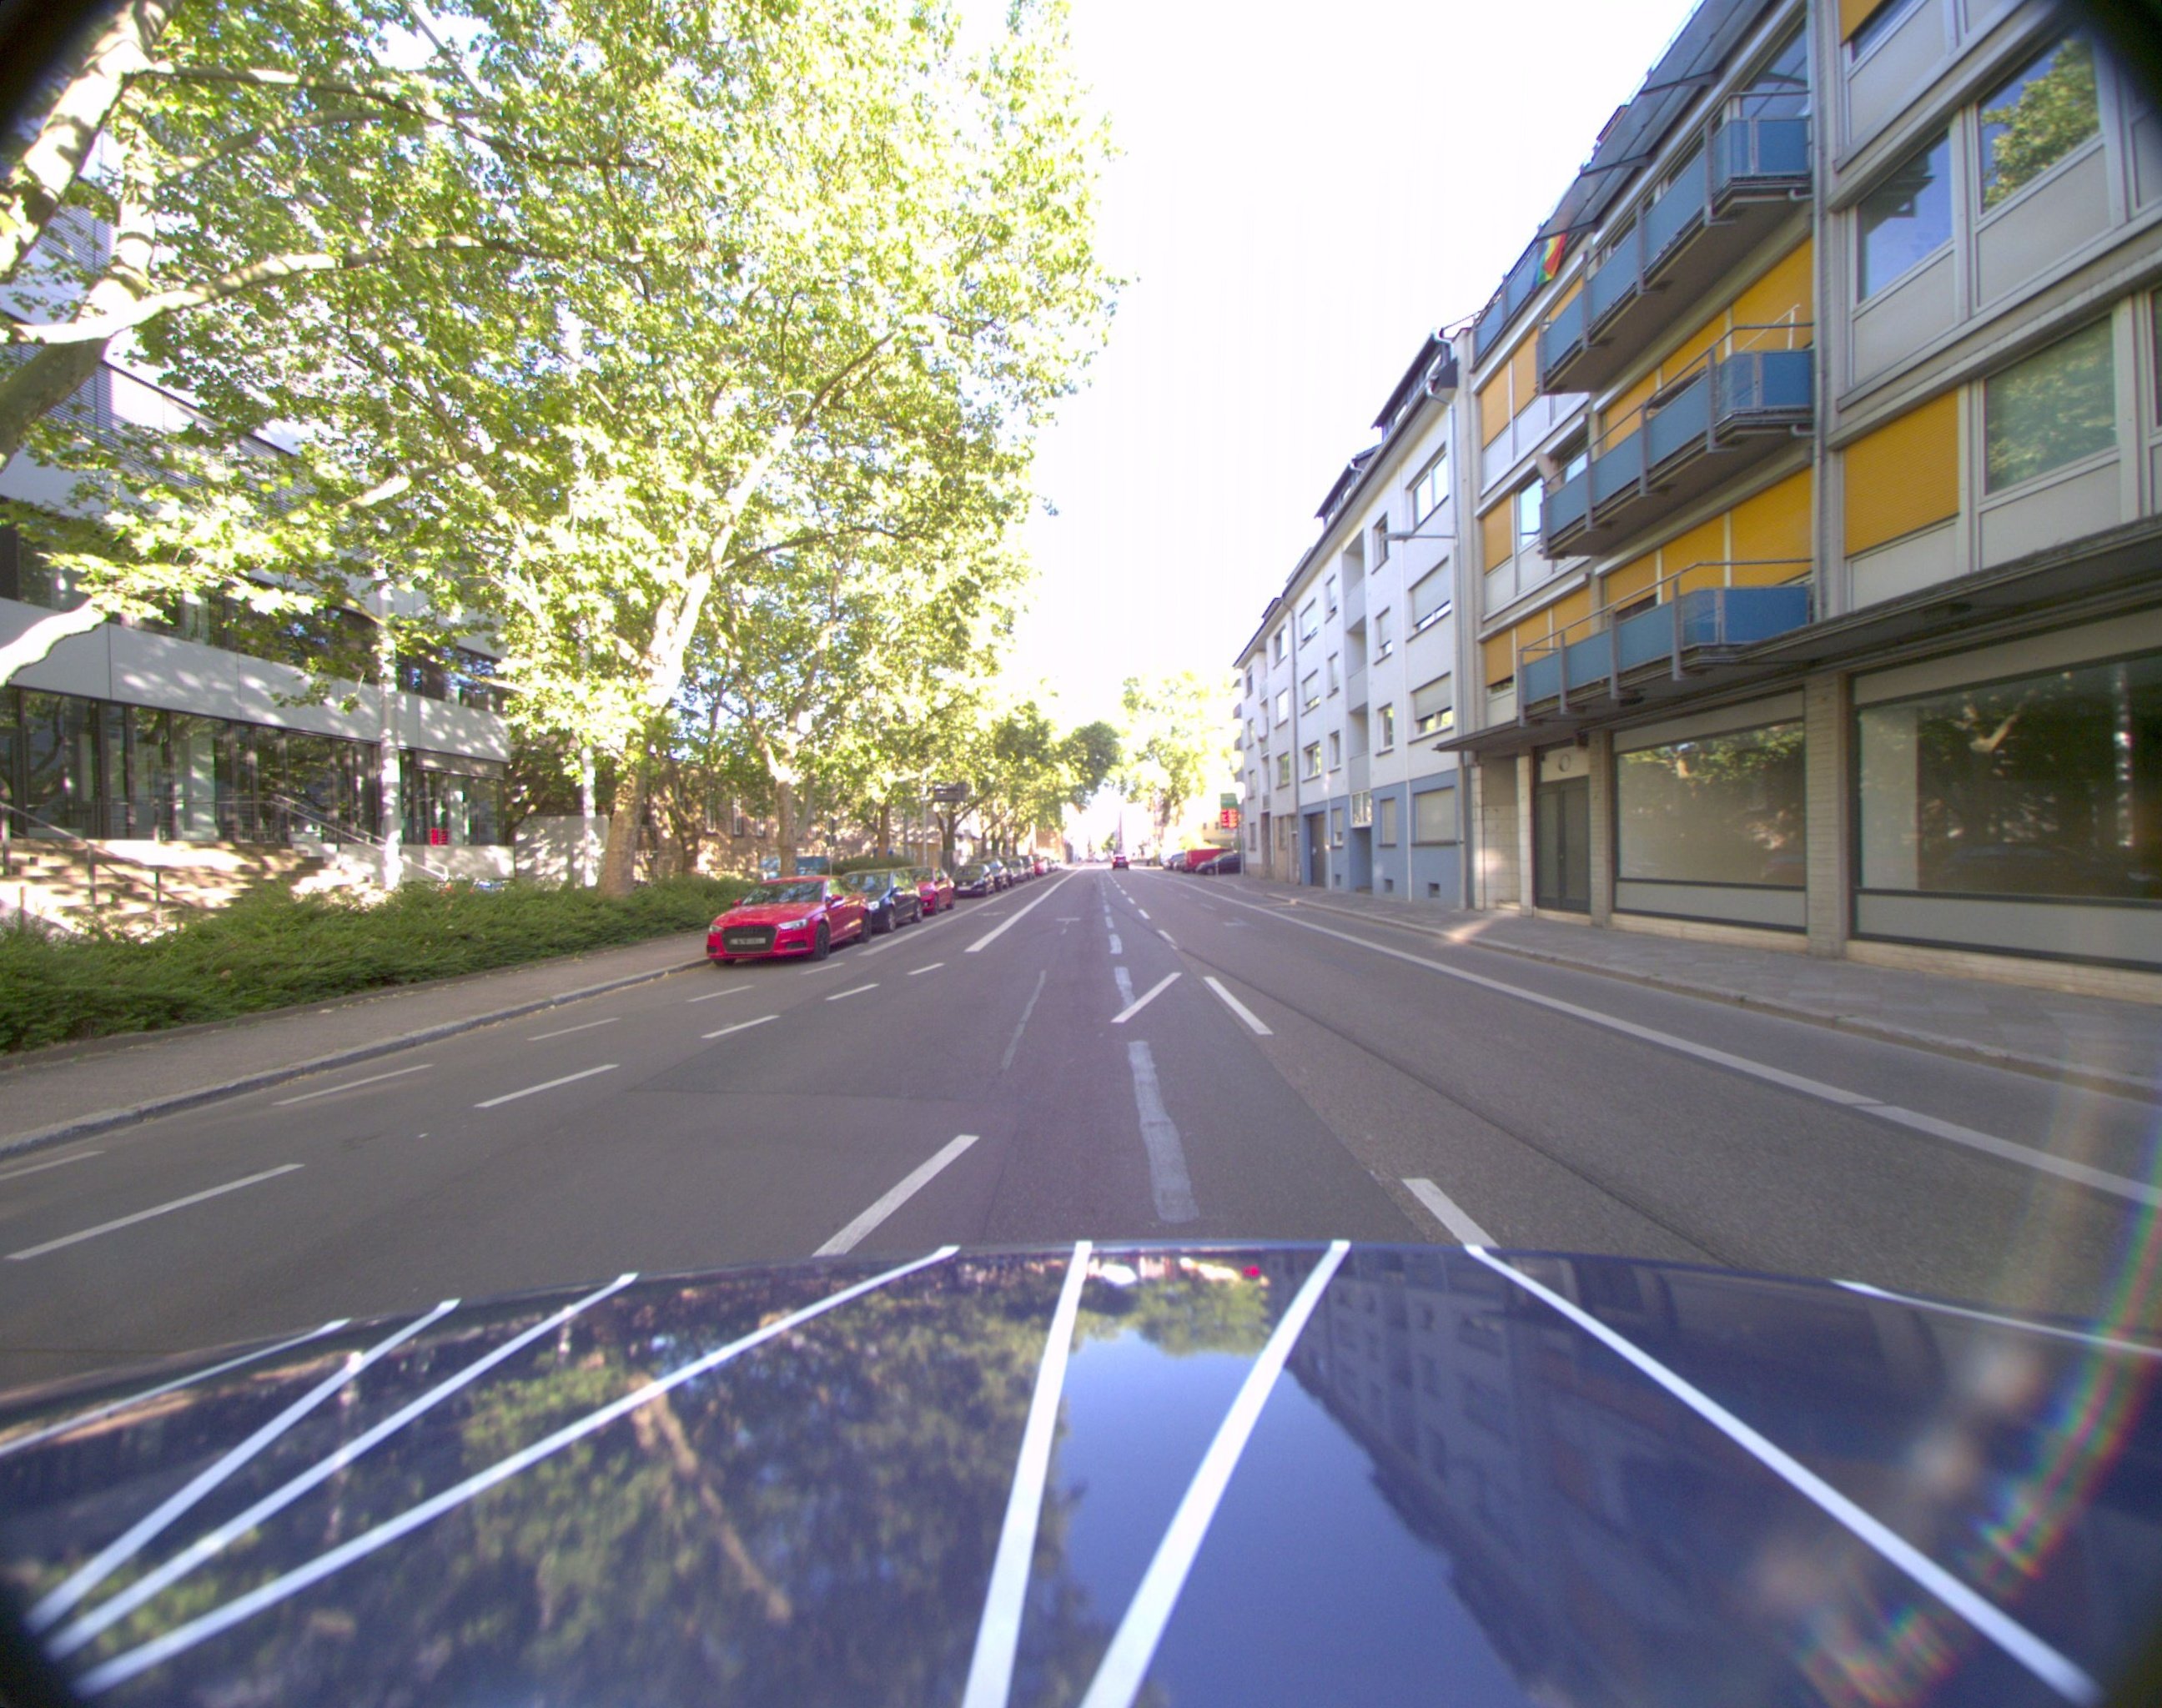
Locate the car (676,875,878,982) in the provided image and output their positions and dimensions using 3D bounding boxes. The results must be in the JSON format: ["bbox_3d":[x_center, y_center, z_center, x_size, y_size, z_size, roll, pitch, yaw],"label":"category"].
[{"bbox_3d":[-5.182,1.194,13.626,1.907,1.417,3.999,-2,1,1],"label":"car"}]

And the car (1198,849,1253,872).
[{"bbox_3d":[10.810,0.449,57.102,3.810,1.563,1.658,-2,1,0],"label":"car"}]

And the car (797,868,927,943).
[{"bbox_3d":[-5.165,1.165,18.438,1.998,1.452,3.644,-2,1,1],"label":"car"}]

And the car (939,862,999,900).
[{"bbox_3d":[-4.831,1.130,33.168,1.998,1.447,3.589,-2,1,1],"label":"car"}]

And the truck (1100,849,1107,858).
[{"bbox_3d":[6.899,-0.287,233.811,1.998,2.653,5.314,-2,1,0],"label":"truck"}]

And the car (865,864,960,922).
[{"bbox_3d":[-5.122,1.147,23.658,1.998,1.490,3.828,-2,1,1],"label":"car"}]

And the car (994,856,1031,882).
[{"bbox_3d":[-4.553,0.959,50.865,1.998,1.557,4.142,-2,1,1],"label":"car"}]

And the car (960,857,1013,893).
[{"bbox_3d":[-4.677,1.005,38.108,1.998,1.592,4.142,-2,1,1],"label":"car"}]

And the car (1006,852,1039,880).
[{"bbox_3d":[-4.244,0.844,55.618,1.998,1.838,3.999,-2,1,1],"label":"car"}]

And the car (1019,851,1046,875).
[{"bbox_3d":[-4.215,0.745,66.329,1.998,1.960,3.999,-2,1,1],"label":"car"}]

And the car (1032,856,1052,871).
[{"bbox_3d":[-4.127,0.989,80.738,1.824,1.466,3.999,-2,1,1],"label":"car"}]

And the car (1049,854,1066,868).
[{"bbox_3d":[-3.173,0.910,102.997,1.998,1.682,3.999,-2,1,1],"label":"car"}]

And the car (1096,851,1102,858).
[{"bbox_3d":[6.189,0.201,259.442,1.998,2.002,3.999,-2,1,1],"label":"car"}]

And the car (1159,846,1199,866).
[{"bbox_3d":[10.960,0.217,85.301,4.236,2.025,2.000,-2,1,3],"label":"car"}]

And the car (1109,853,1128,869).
[{"bbox_3d":[4.006,0.734,81.830,1.847,1.668,3.999,0,1,1],"label":"car"}]

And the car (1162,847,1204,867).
[{"bbox_3d":[10.873,0.283,80.900,4.236,1.945,2.000,-2,1,3],"label":"car"}]

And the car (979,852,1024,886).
[{"bbox_3d":[-4.600,0.838,44.505,1.998,1.777,4.572,-2,1,1],"label":"car"}]

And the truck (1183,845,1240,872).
[{"bbox_3d":[10.296,0.319,60.203,4.092,1.913,2.000,-2,1,0],"label":"truck"}]

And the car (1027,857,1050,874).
[{"bbox_3d":[-4.027,1.083,71.986,1.824,1.466,3.999,-2,1,1],"label":"car"}]

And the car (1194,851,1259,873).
[{"bbox_3d":[10.464,0.570,54.770,4.324,1.398,1.658,-2,1,0],"label":"car"}]

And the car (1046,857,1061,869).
[{"bbox_3d":[-3.336,1.073,92.726,1.693,1.364,3.999,-2,1,1],"label":"car"}]
